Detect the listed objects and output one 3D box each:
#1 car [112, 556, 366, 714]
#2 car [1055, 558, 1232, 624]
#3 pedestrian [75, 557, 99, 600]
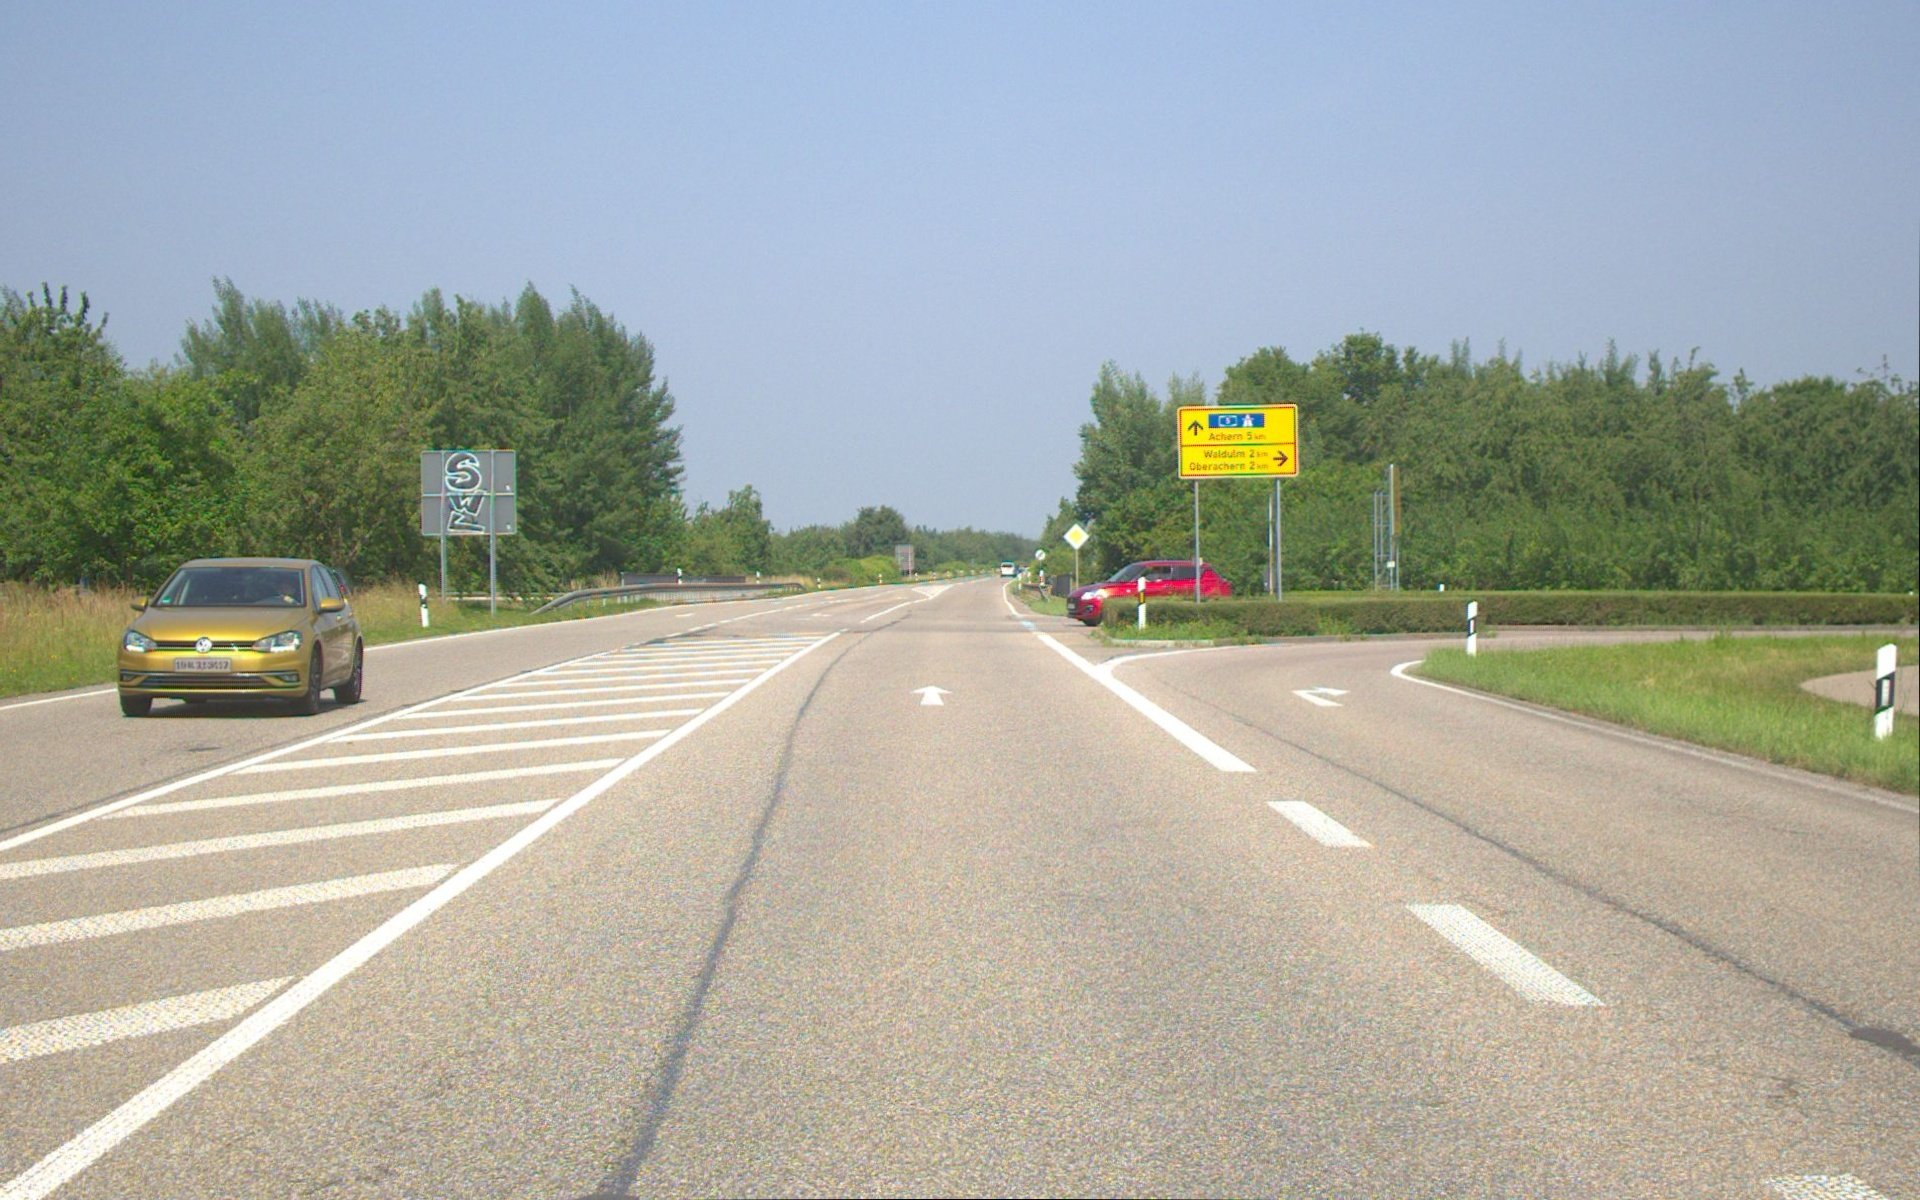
[{"bbox_3d":[-6.771,0.289,32.641,1.697,1.411,3.825,0,1,-2],"label":"car"},{"bbox_3d":[4.262,-0.219,79.992,3.739,1.488,1.672,1,0,-17],"label":"car"},{"bbox_3d":[-26.038,-0.637,102.566,0.573,1.293,0.556,0,0,2],"label":"pedestrian"}]
